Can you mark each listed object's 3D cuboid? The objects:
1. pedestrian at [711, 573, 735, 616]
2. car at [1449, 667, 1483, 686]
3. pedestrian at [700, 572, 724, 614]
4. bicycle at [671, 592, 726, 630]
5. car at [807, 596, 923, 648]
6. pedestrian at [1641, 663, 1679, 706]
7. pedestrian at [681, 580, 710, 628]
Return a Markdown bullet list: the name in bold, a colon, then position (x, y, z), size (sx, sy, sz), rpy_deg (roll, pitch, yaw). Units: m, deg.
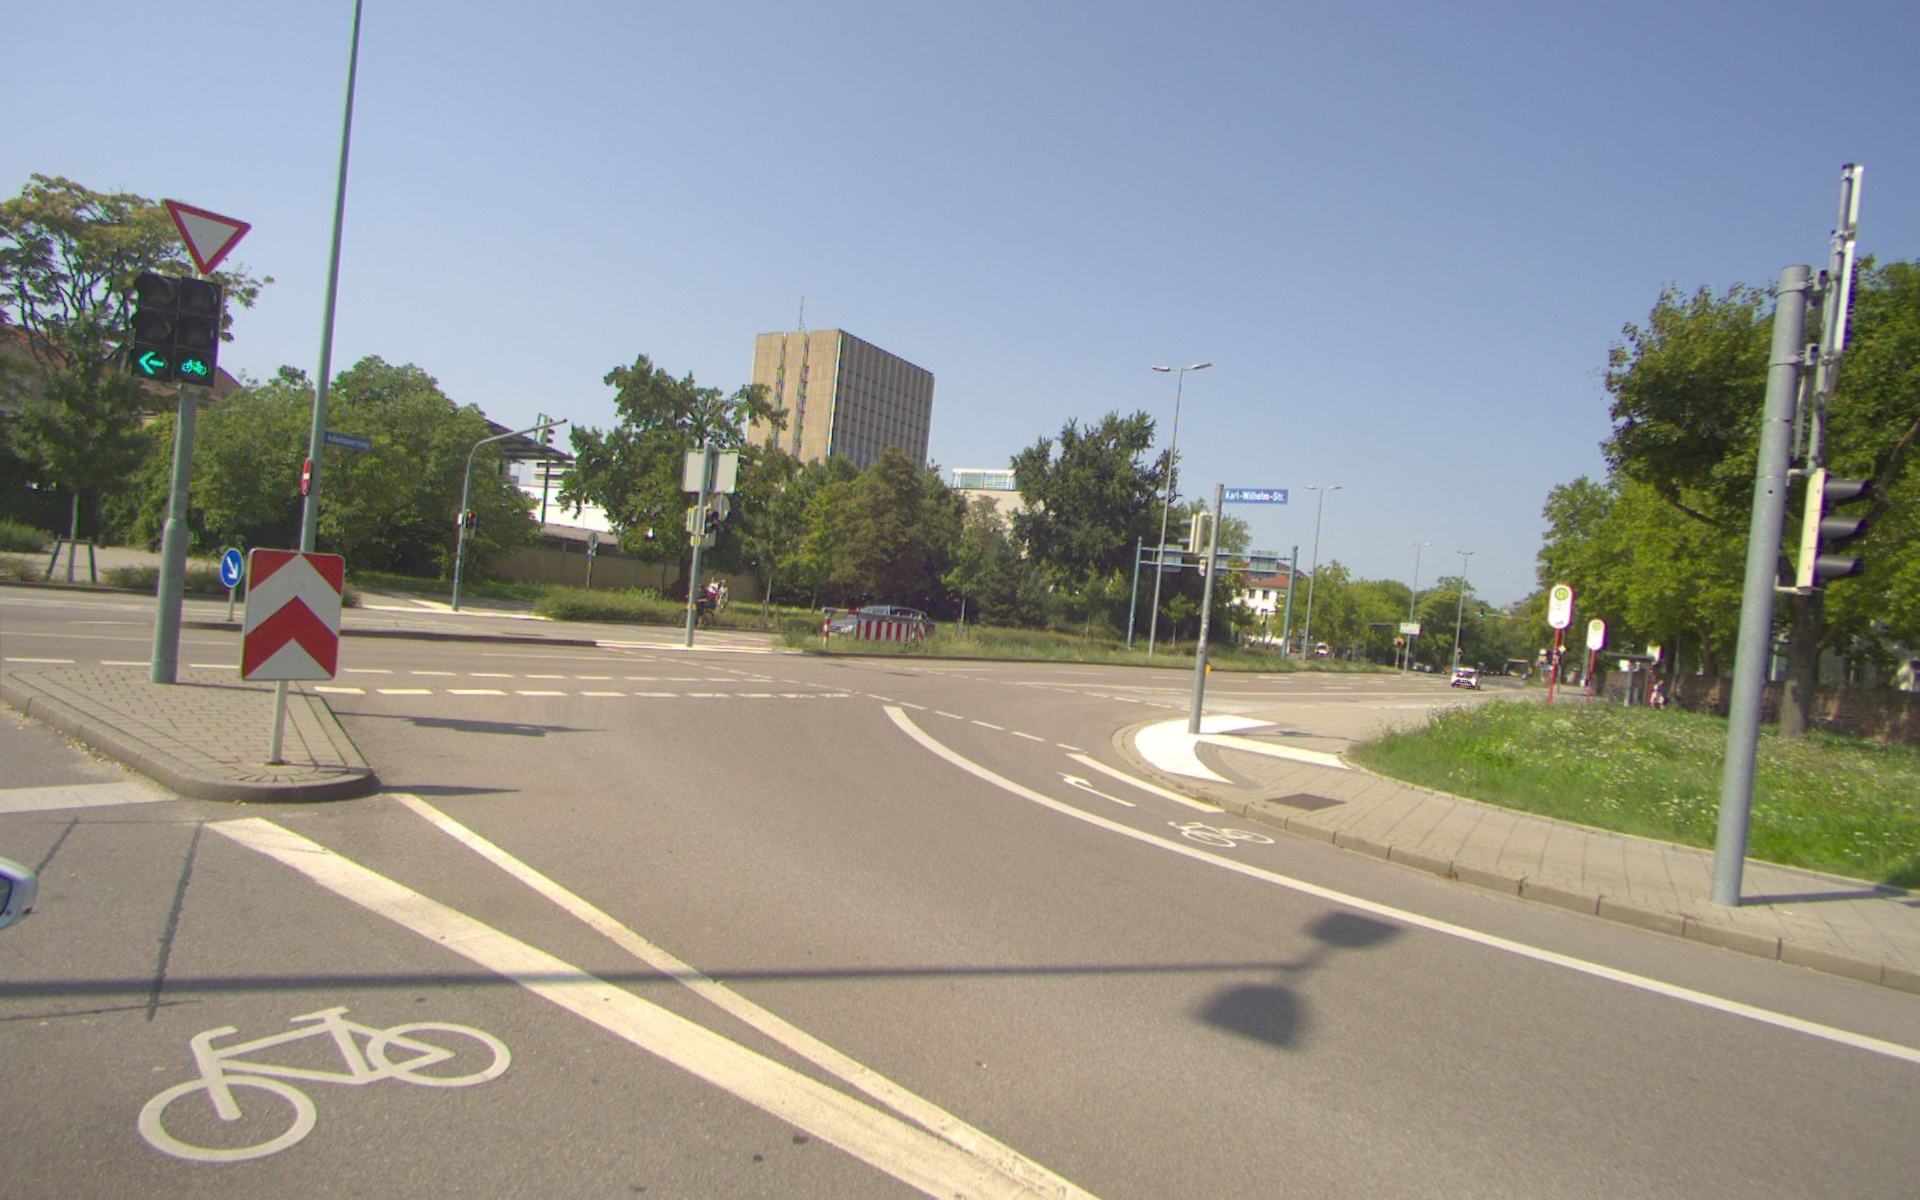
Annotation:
- **pedestrian**: position (-10.525, -0.238, 44.666), size (0.683, 1.794, 0.585), rpy_deg (6, 1, 37)
- **car**: position (36.604, 5.554, 72.754), size (1.566, 1.151, 3.252), rpy_deg (7, 0, 36)
- **pedestrian**: position (-11.112, -0.320, 45.066), size (0.683, 1.794, 0.585), rpy_deg (6, 1, 37)
- **bicycle**: position (-9.612, 0.408, 36.991), size (0.774, 1.228, 1.782), rpy_deg (6, 0, 37)
- **car**: position (-2.944, 0.709, 31.600), size (1.765, 1.374, 3.412), rpy_deg (4, -1, 36)
- **pedestrian**: position (36.279, 4.358, 52.170), size (1.052, 2.039, 1.235), rpy_deg (6, 1, 13)
- **pedestrian**: position (-9.695, 0.148, 36.844), size (0.769, 1.690, 0.547), rpy_deg (6, 1, 37)
